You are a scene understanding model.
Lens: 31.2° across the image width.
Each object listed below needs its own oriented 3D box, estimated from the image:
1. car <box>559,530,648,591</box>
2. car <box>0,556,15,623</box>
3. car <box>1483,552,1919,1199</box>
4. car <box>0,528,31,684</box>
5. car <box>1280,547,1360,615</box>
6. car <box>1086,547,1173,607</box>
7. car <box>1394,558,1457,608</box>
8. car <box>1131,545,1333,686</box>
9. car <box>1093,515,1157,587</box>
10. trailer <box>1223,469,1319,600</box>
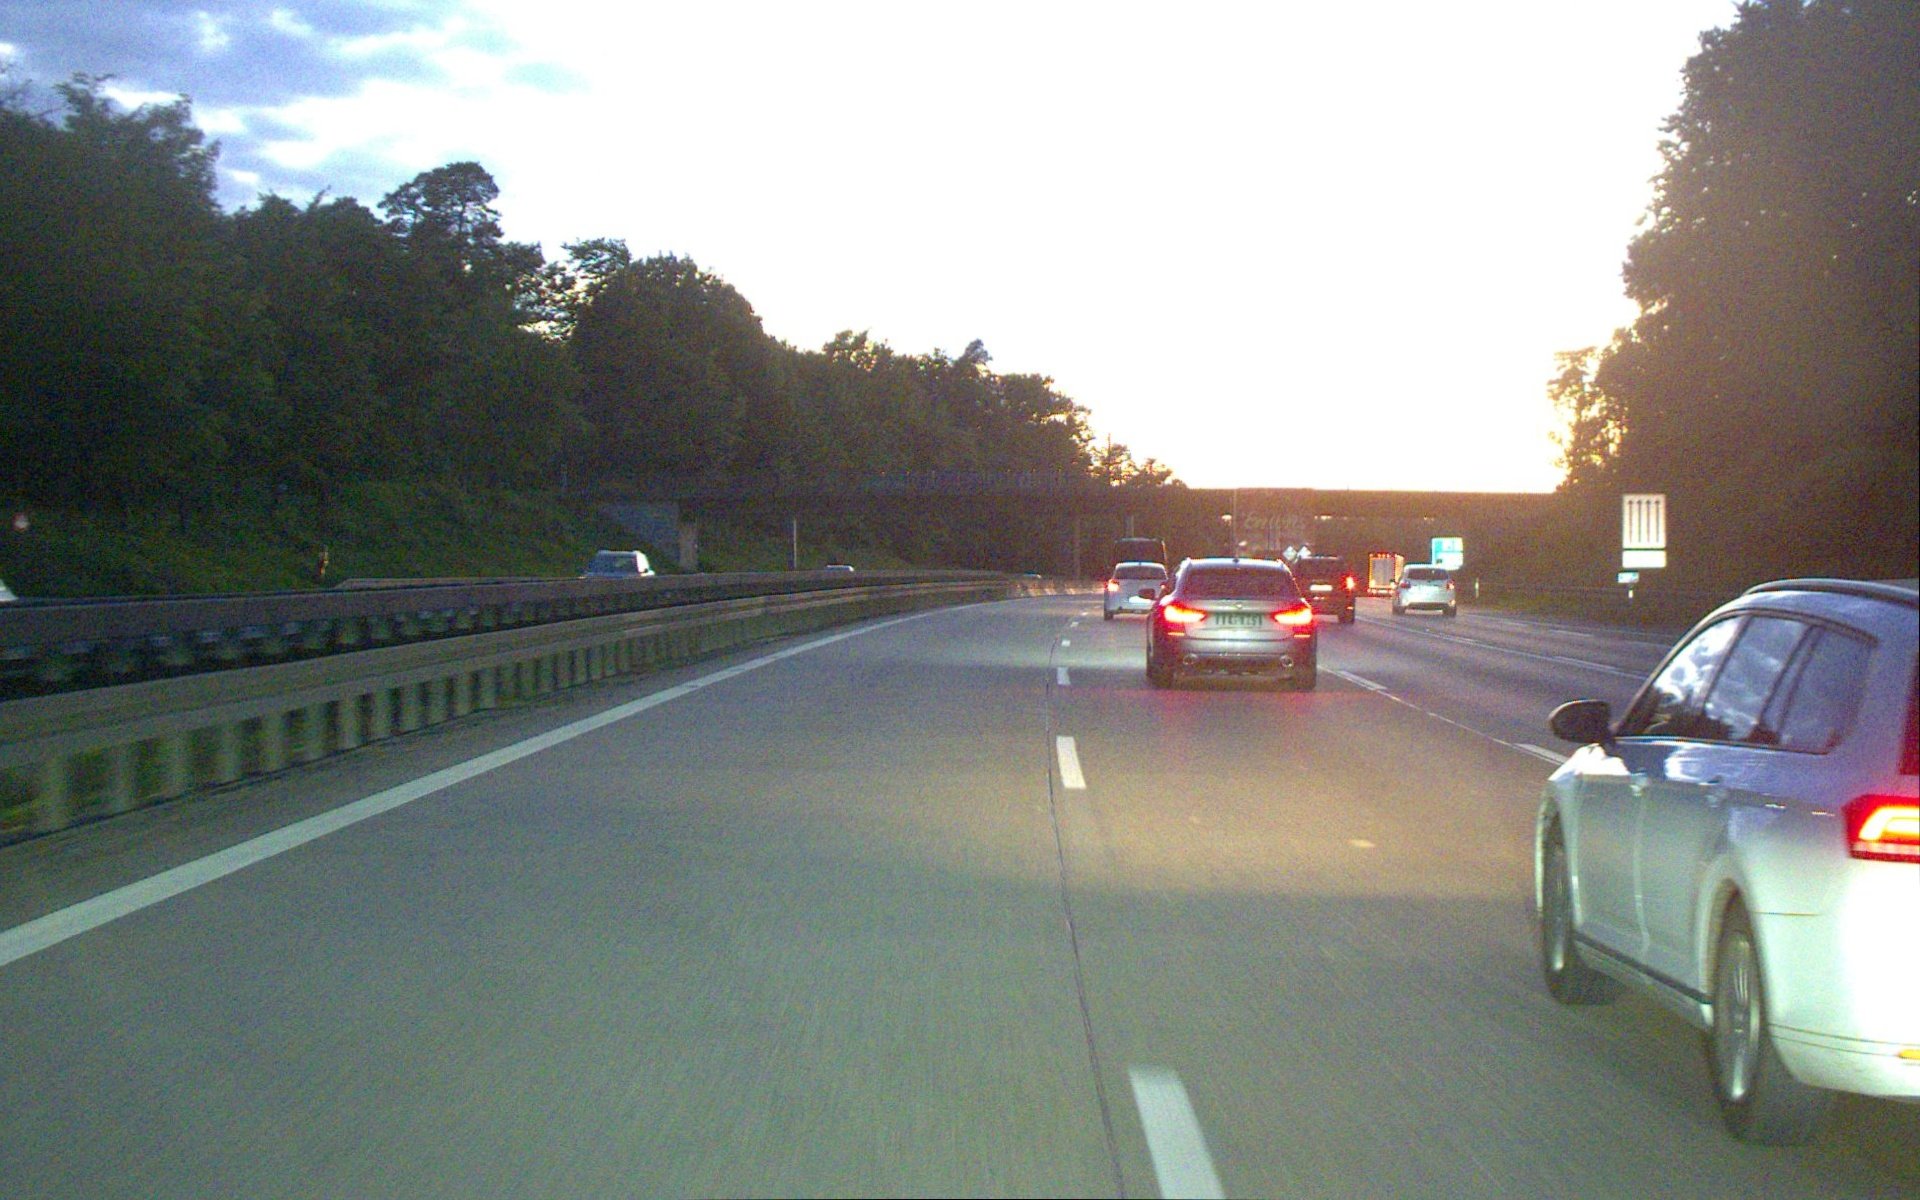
[{"bbox_3d":[-10.318,-1.152,99.837,1.993,1.699,4.551,1,1,1],"label":"car"},{"bbox_3d":[-22.468,-0.208,75.802,1.850,1.491,4.594,0,1,2],"label":"car"},{"bbox_3d":[2.832,0.627,10.061,1.809,1.461,5.132,0,1,0],"label":"car"},{"bbox_3d":[-10.775,0.079,34.076,1.993,1.594,4.822,0,1,-2],"label":"car"},{"bbox_3d":[8.974,-0.458,85.540,1.903,1.638,5.051,1,0,6],"label":"car"},{"bbox_3d":[4.207,-0.585,85.948,1.859,1.437,3.721,0,1,-2],"label":"car"},{"bbox_3d":[14.176,-0.512,104.609,1.860,1.437,4.110,1,0,8],"label":"car"},{"bbox_3d":[3.130,0.129,40.539,1.909,1.532,5.232,0,1,0],"label":"car"},{"bbox_3d":[5.922,-1.729,123.135,2.166,2.411,5.563,1,-1,4],"label":"car"},{"bbox_3d":[10.490,-2.127,116.743,2.907,4.087,10.355,1,-1,4],"label":"trailer"}]
